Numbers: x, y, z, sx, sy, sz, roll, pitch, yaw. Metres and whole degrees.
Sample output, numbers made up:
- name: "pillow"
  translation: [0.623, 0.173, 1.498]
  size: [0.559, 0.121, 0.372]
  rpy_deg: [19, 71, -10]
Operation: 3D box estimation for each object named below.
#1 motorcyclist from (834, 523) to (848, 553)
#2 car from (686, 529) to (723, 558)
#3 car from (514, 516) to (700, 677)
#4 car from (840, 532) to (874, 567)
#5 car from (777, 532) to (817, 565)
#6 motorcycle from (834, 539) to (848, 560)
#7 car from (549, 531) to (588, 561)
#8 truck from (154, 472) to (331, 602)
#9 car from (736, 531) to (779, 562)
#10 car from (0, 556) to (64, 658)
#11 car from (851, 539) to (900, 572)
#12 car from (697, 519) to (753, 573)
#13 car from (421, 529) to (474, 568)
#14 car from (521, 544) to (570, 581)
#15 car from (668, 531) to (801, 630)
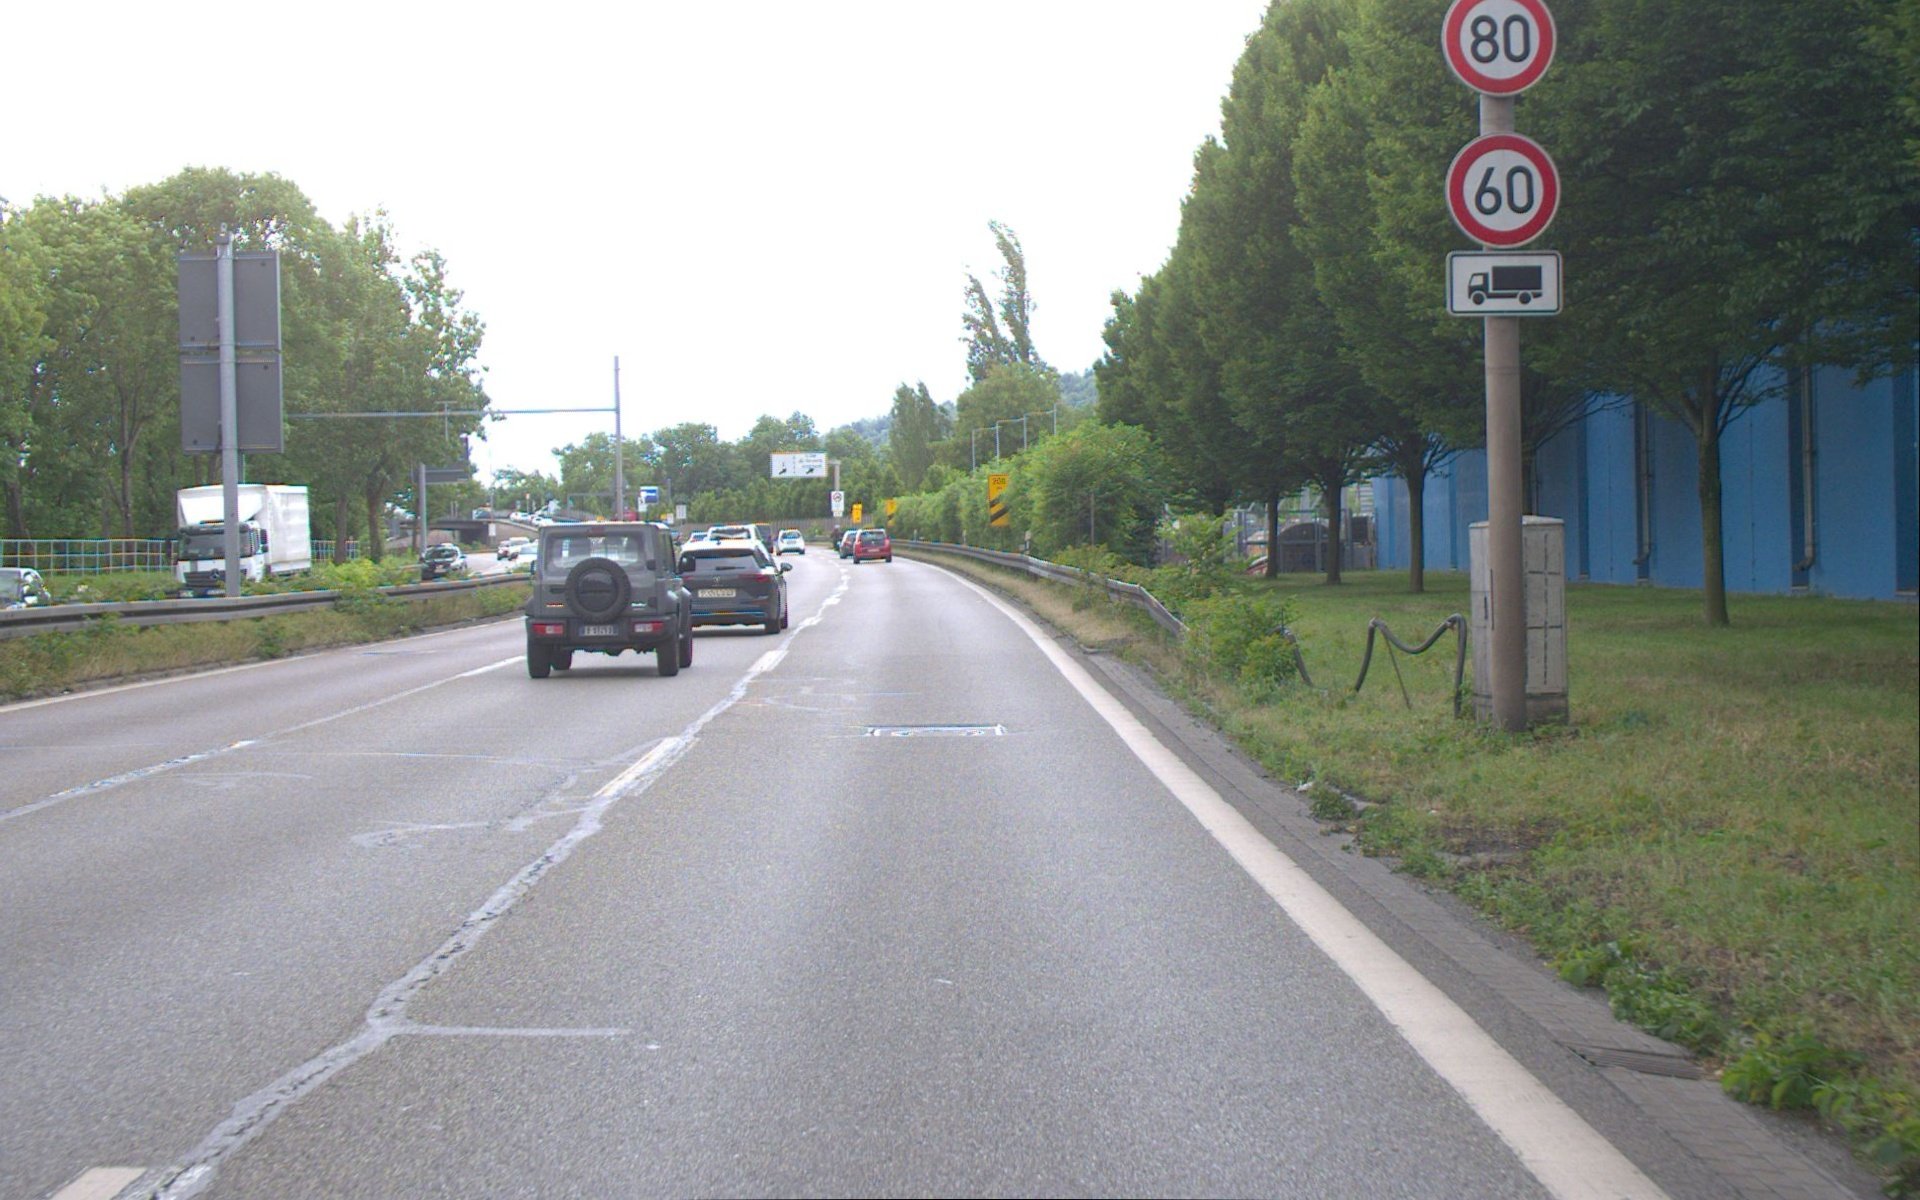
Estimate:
- name: "motorcyclist"
  translation: [-7.022, -3.645, 202.419]
  size: [0.791, 1.754, 0.923]
  rpy_deg: [-1, 1, -3]
- name: "car"
  translation: [-18.124, -4.002, 243.715]
  size: [2.013, 1.927, 4.902]
  rpy_deg: [-3, 1, -11]
- name: "car"
  translation: [-3.898, -0.090, 38.508]
  size: [1.697, 1.680, 4.000]
  rpy_deg: [-1, 1, -1]
- name: "car"
  translation: [-5.303, -2.609, 177.226]
  size: [1.697, 1.736, 4.394]
  rpy_deg: [-2, 1, -2]
- name: "car"
  translation: [-10.006, -3.148, 210.832]
  size: [2.013, 1.927, 4.902]
  rpy_deg: [-2, 1, -8]
- name: "motorcycle"
  translation: [-7.019, -2.958, 202.433]
  size: [0.791, 1.215, 2.330]
  rpy_deg: [-1, 1, -3]
- name: "car"
  translation: [-23.086, -3.202, 202.766]
  size: [1.866, 1.669, 4.719]
  rpy_deg: [-3, 1, -2]
- name: "truck"
  translation: [-21.132, -1.851, 101.837]
  size: [2.889, 3.566, 9.587]
  rpy_deg: [-2, 1, 2]
- name: "car"
  translation: [-13.401, -3.542, 227.636]
  size: [2.013, 1.927, 4.902]
  rpy_deg: [-3, 1, -13]
- name: "car"
  translation: [-17.560, 0.119, 61.417]
  size: [1.878, 1.719, 4.146]
  rpy_deg: [-1, 1, 2]
- name: "car"
  translation: [-3.853, -2.015, 155.850]
  size: [1.974, 1.418, 4.901]
  rpy_deg: [-2, 1, -4]
- name: "car"
  translation: [-7.960, -1.833, 116.655]
  size: [1.697, 1.736, 4.000]
  rpy_deg: [-2, 1, -2]
- name: "car"
  translation: [-22.969, -2.318, 154.225]
  size: [1.726, 1.599, 4.042]
  rpy_deg: [-3, 1, -1]
- name: "car"
  translation: [-19.455, -1.790, 161.366]
  size: [1.697, 1.599, 4.539]
  rpy_deg: [-3, 1, -1]
- name: "car"
  translation: [-3.433, -0.328, 52.980]
  size: [1.845, 1.418, 4.901]
  rpy_deg: [-1, 1, -2]
